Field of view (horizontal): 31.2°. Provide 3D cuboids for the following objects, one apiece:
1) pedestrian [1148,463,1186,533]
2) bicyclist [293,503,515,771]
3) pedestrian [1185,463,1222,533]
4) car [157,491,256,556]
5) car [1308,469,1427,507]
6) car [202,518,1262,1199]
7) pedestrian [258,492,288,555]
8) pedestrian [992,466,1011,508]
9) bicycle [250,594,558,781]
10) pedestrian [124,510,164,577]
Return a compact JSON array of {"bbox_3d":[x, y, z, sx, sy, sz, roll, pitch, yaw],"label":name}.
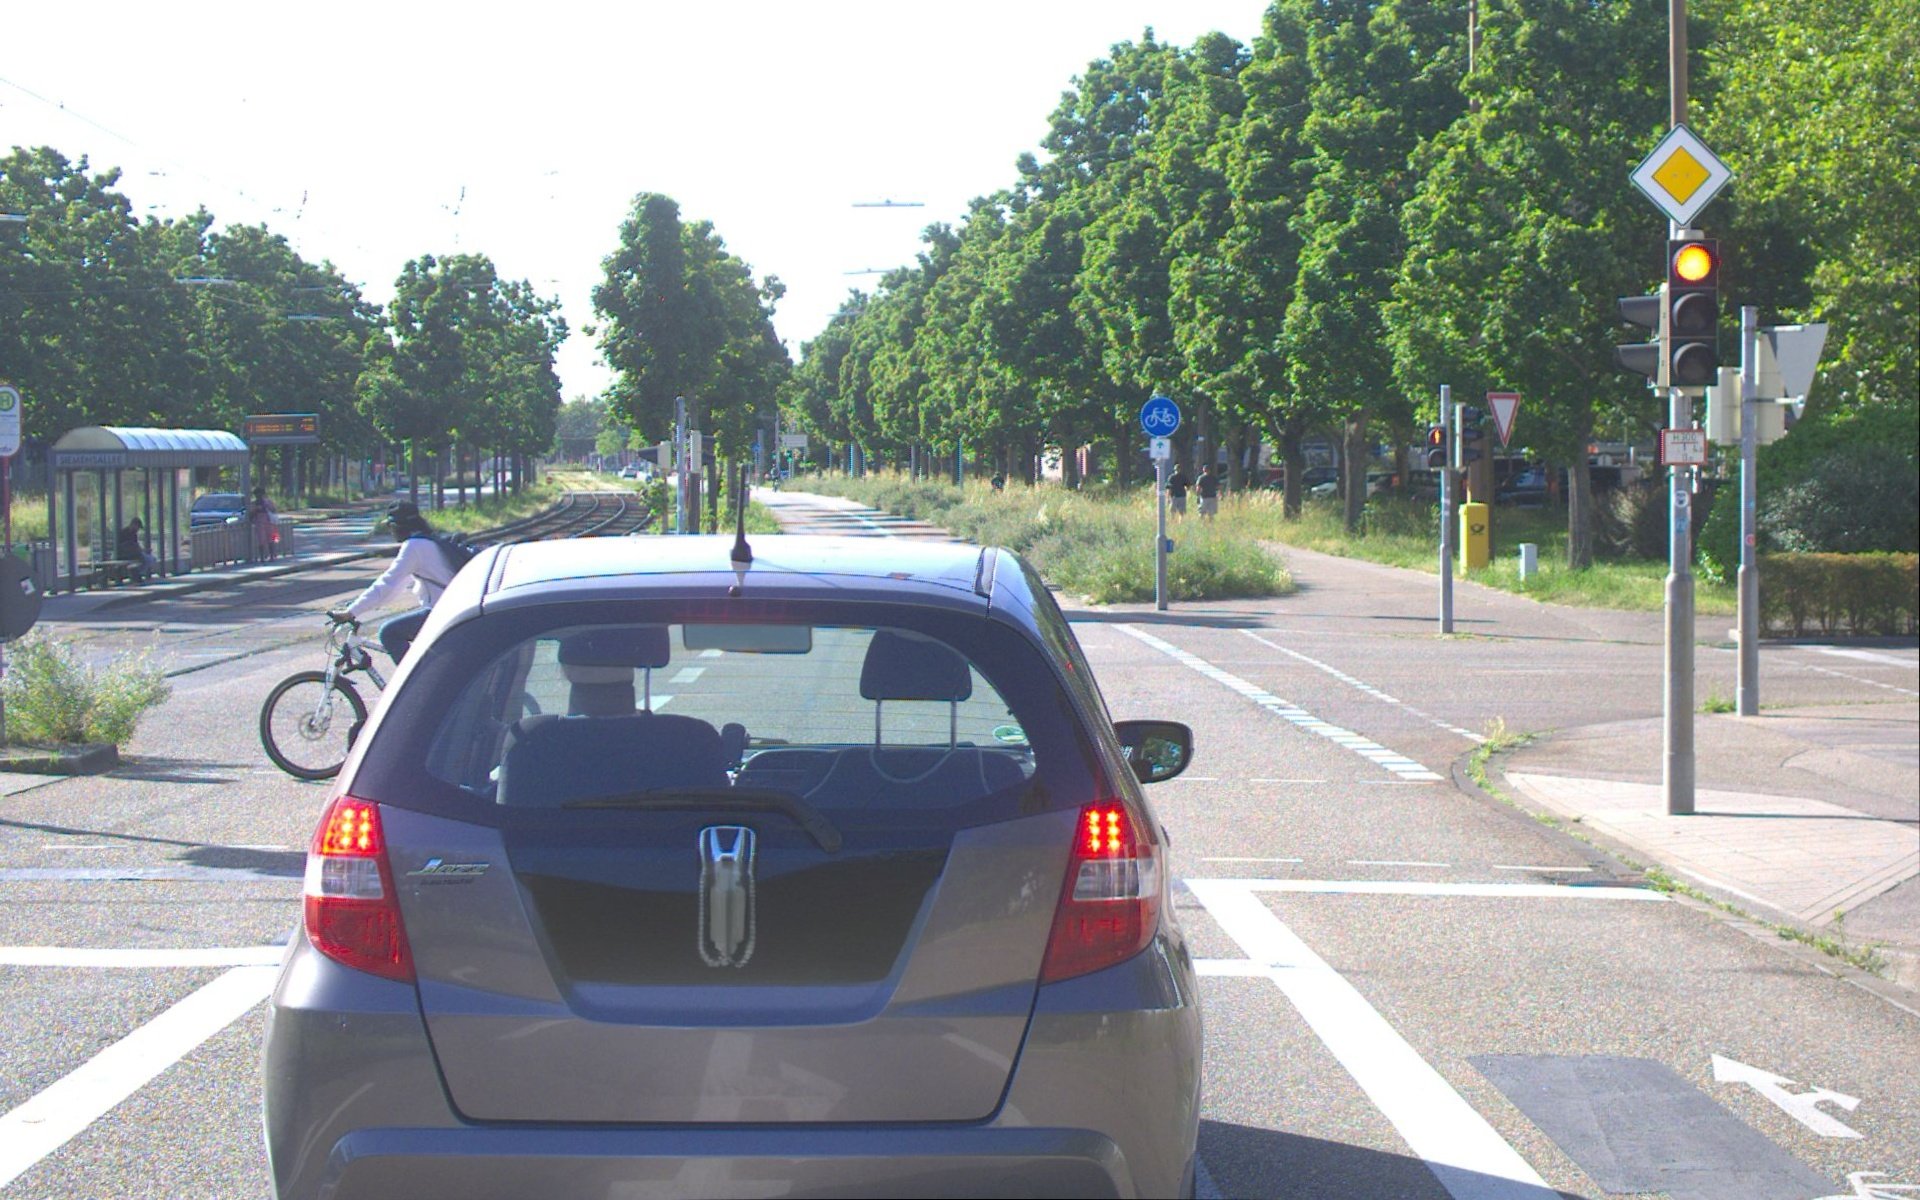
[{"bbox_3d":[5.576,-2.759,92.678,0.882,1.877,0.875,-1,2,-4],"label":"pedestrian"},{"bbox_3d":[-3.364,0.211,20.871,1.232,1.588,0.805,0,1,-1],"label":"bicyclist"},{"bbox_3d":[6.580,-2.754,92.901,0.882,1.877,0.875,-1,2,-4],"label":"pedestrian"},{"bbox_3d":[-23.095,-2.375,105.546,2.093,1.803,4.794,-2,3,-3],"label":"car"},{"bbox_3d":[17.102,-4.705,144.516,4.630,1.550,2.001,-1,2,-6],"label":"car"},{"bbox_3d":[-0.390,0.602,7.403,1.701,1.518,3.710,0,1,-1],"label":"car"},{"bbox_3d":[-16.002,-1.775,80.068,0.544,1.442,0.559,-1,1,-1],"label":"pedestrian"},{"bbox_3d":[1.691,-4.602,140.150,0.725,1.685,0.821,0,0,-3],"label":"pedestrian"},{"bbox_3d":[-3.366,0.523,20.909,1.775,1.098,0.699,0,1,-1],"label":"bicycle"},{"bbox_3d":[-15.549,-1.082,65.515,0.563,1.252,0.581,-3,1,-1],"label":"pedestrian"}]
